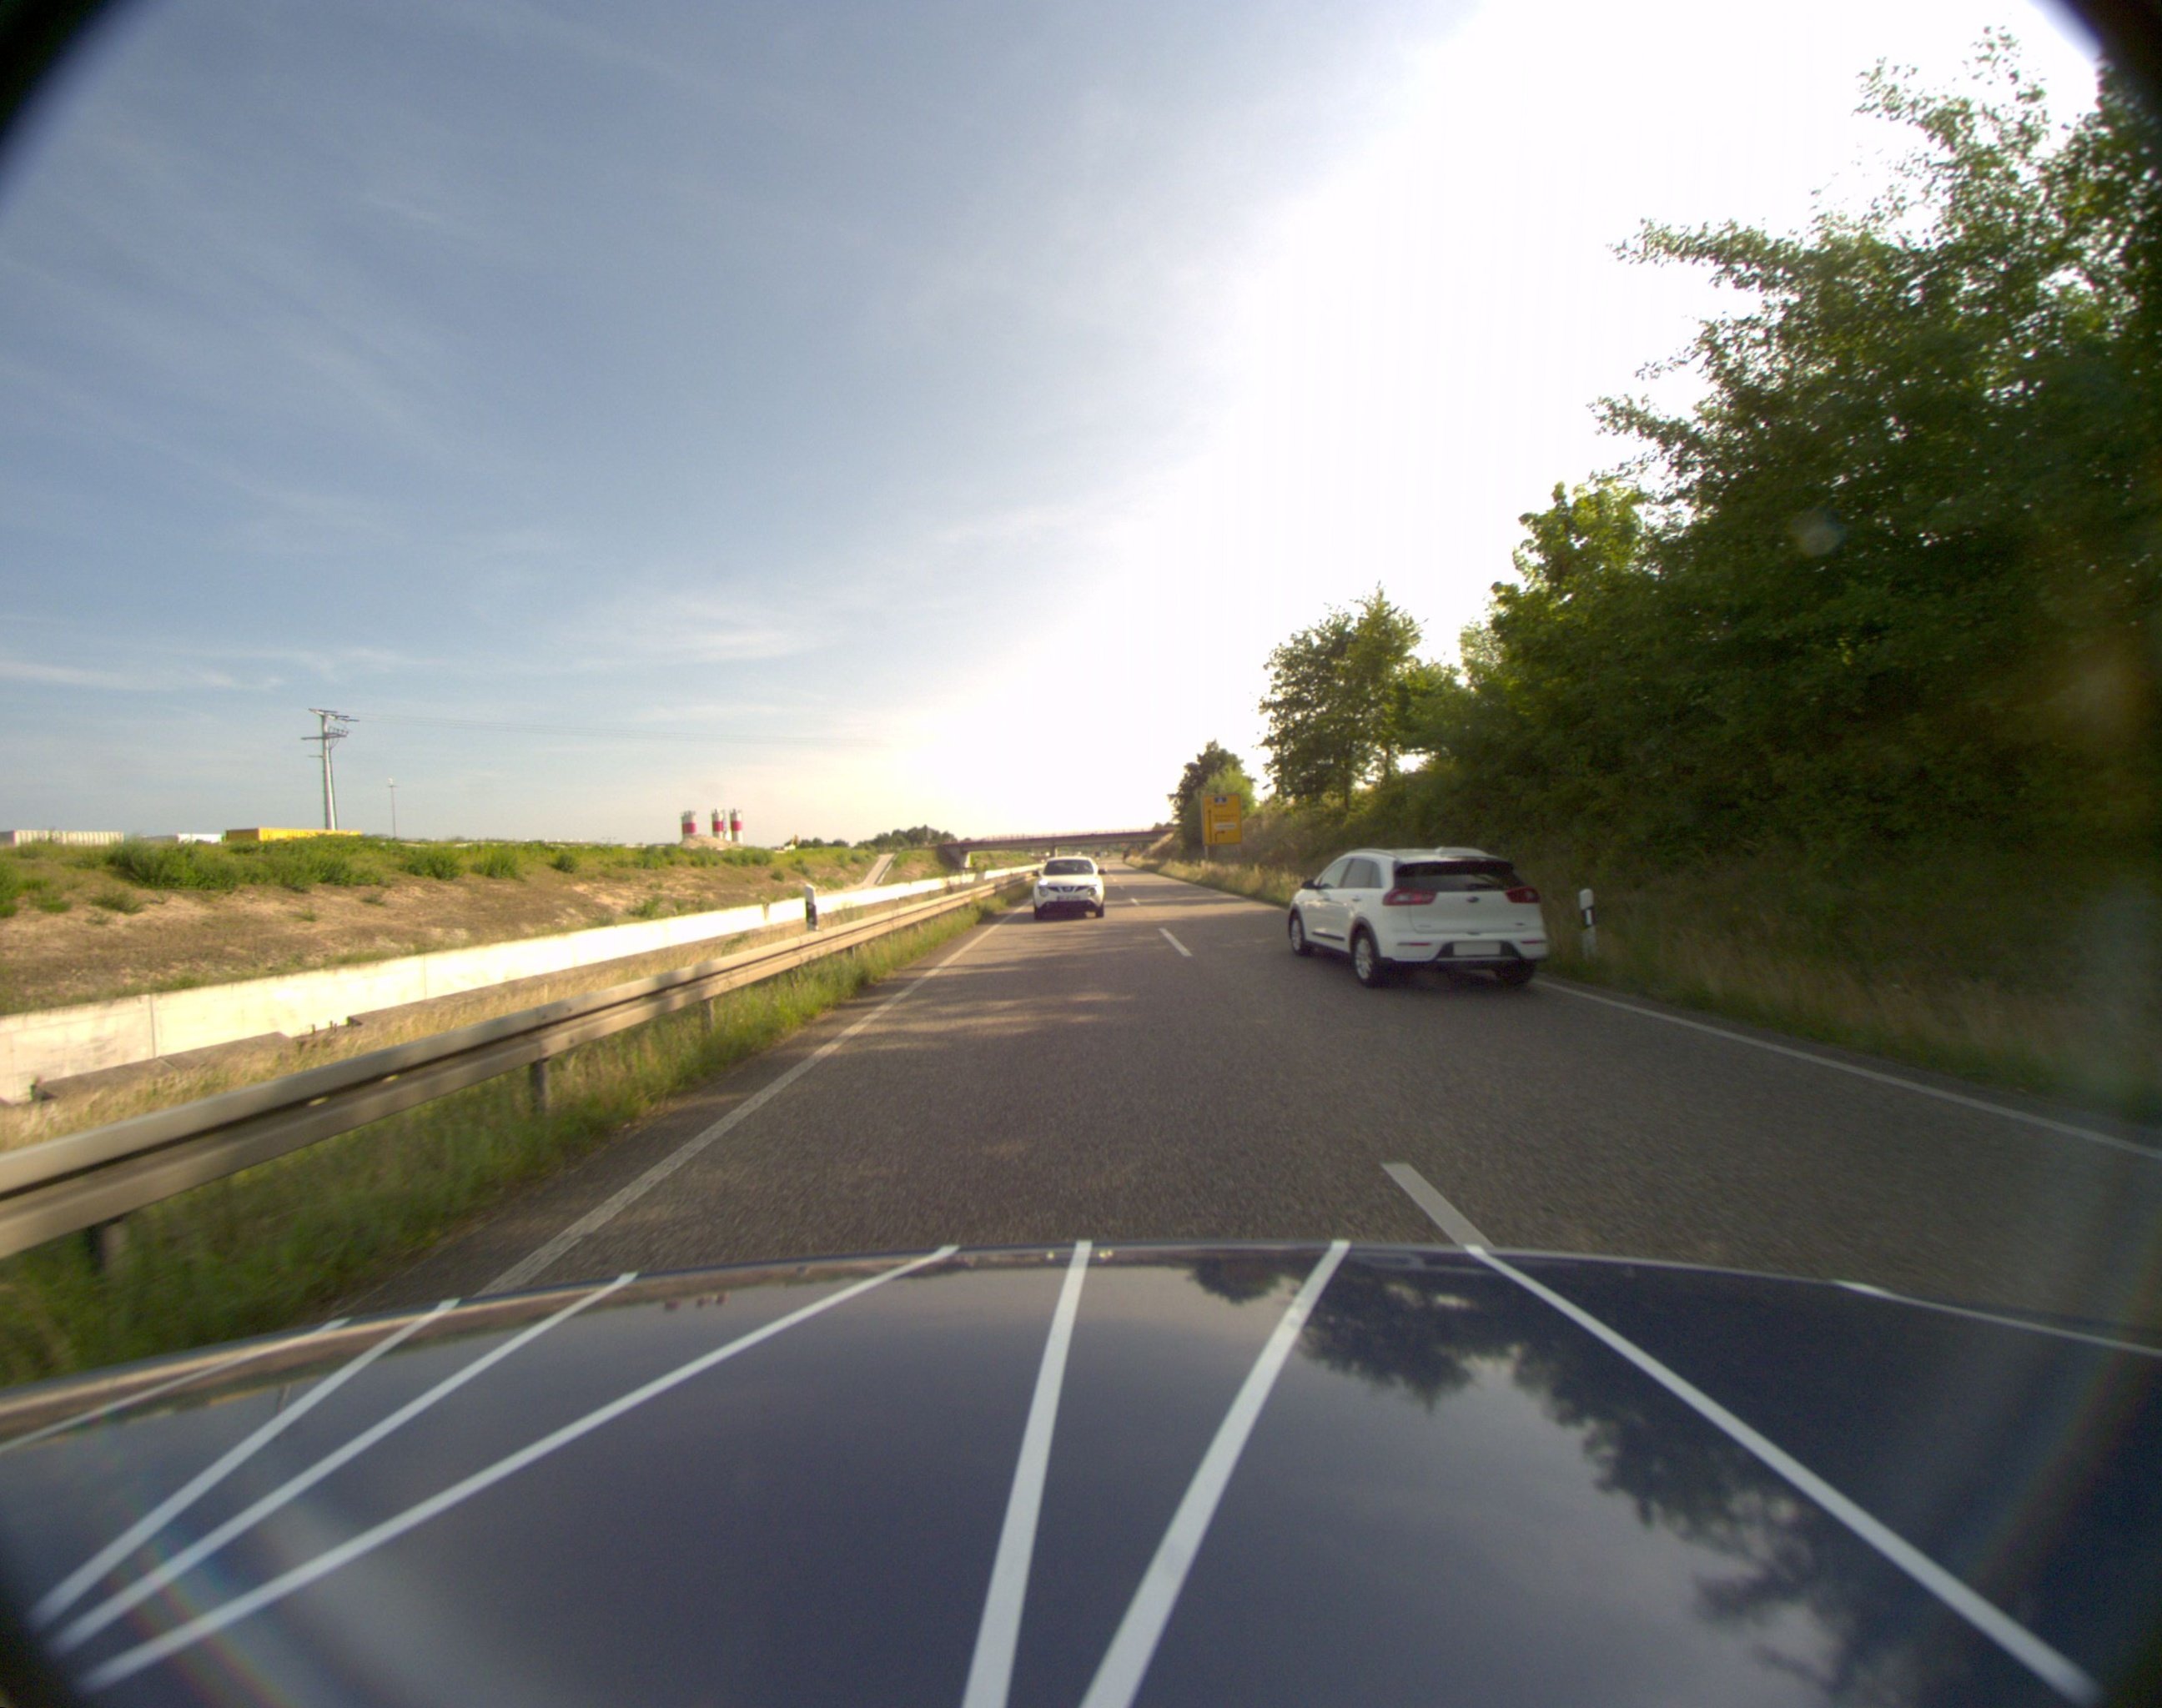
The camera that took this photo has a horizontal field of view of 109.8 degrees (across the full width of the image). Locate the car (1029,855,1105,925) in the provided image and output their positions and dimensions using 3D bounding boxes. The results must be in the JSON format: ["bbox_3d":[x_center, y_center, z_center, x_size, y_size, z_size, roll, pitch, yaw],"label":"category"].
[{"bbox_3d":[-0.379,0.878,20.594,1.789,1.593,4.571,-2,0,-1],"label":"car"}]

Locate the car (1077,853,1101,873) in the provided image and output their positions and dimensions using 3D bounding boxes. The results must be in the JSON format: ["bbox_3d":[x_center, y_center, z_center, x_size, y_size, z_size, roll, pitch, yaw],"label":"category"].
[{"bbox_3d":[0.633,0.746,63.384,1.908,1.512,4.465,-2,0,0],"label":"car"}]

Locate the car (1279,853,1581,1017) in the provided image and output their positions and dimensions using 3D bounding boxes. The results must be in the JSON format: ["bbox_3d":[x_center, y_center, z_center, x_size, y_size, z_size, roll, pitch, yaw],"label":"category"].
[{"bbox_3d":[3.935,0.773,9.493,1.749,1.555,4.365,-1,0,0],"label":"car"}]
